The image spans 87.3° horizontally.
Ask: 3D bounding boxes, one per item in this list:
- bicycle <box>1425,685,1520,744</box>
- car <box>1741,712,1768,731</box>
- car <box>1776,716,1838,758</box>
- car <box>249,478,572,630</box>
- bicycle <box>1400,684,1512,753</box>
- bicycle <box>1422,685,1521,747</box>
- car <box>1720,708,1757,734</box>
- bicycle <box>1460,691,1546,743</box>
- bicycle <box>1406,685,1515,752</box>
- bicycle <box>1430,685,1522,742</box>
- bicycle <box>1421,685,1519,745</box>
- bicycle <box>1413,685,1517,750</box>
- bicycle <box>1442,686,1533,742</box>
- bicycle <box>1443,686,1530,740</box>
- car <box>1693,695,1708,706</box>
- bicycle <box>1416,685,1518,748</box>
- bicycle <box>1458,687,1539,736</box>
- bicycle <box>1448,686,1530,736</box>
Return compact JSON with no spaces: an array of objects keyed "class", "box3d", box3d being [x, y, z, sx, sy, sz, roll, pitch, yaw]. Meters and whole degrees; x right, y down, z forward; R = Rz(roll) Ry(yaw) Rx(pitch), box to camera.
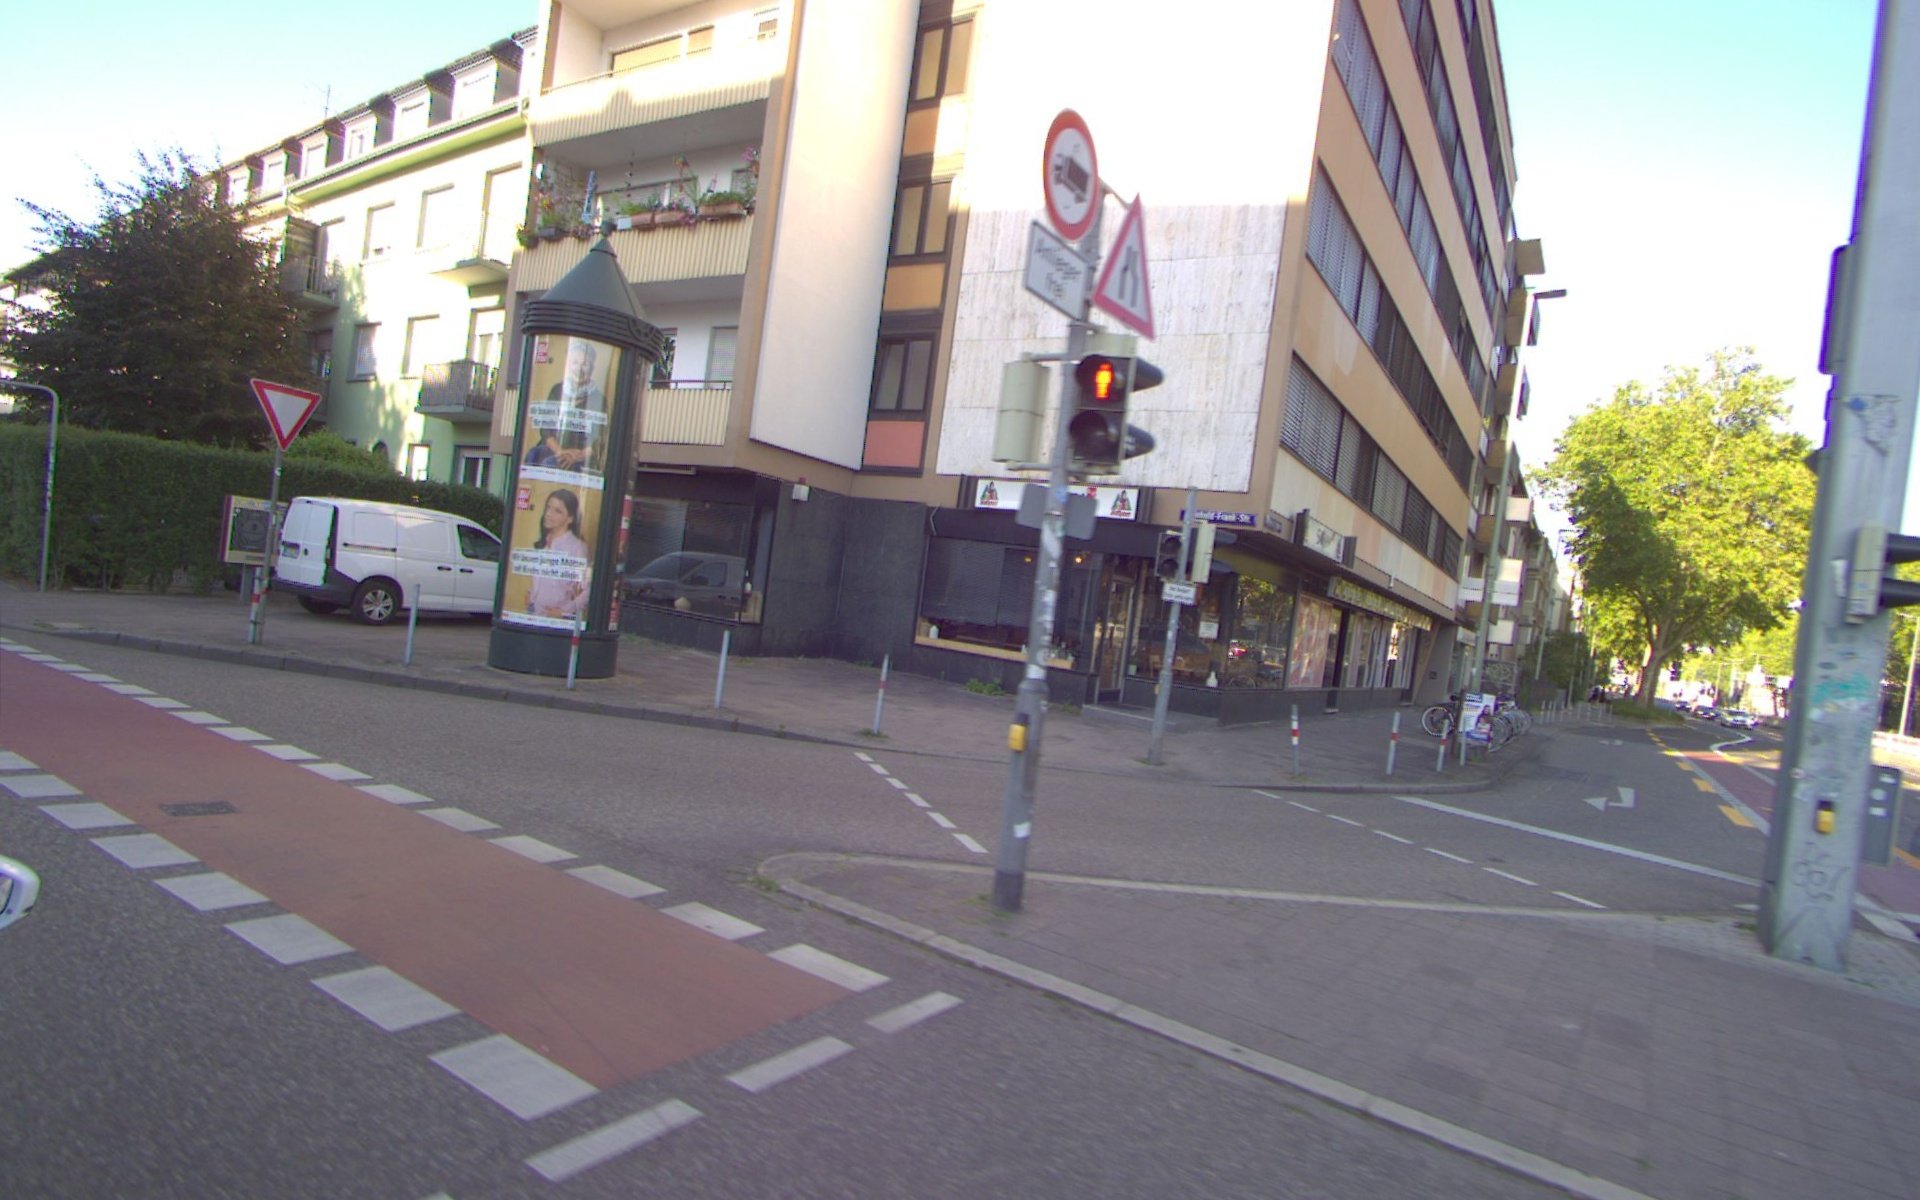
[{"class":"bicycle","box3d":[12.785,2.840,25.115,1.973,1.110,0.527,8,1,30]},{"class":"car","box3d":[88.084,13.417,111.523,1.742,1.727,3.991,8,0,32]},{"class":"car","box3d":[44.311,7.127,52.706,1.742,1.727,3.991,8,0,32]},{"class":"car","box3d":[-8.740,-0.658,16.339,1.831,1.836,4.090,9,0,34]},{"class":"bicycle","box3d":[10.646,2.531,21.645,1.976,1.110,0.526,8,1,35]},{"class":"bicycle","box3d":[12.175,2.752,23.988,1.972,1.110,0.527,8,1,28]},{"class":"car","box3d":[63.493,9.852,82.089,1.742,1.727,3.991,8,0,32]},{"class":"bicycle","box3d":[15.307,3.279,28.411,1.972,1.110,0.527,8,1,28]},{"class":"bicycle","box3d":[11.032,2.587,22.223,1.976,1.110,0.526,8,1,35]},{"class":"bicycle","box3d":[13.292,2.913,25.969,1.972,1.110,0.527,8,1,28]},{"class":"bicycle","box3d":[12.454,2.792,24.594,1.973,1.110,0.527,8,1,30]},{"class":"bicycle","box3d":[11.509,2.656,22.961,1.972,1.110,0.527,8,1,28]},{"class":"bicycle","box3d":[13.841,2.992,26.461,1.972,1.110,0.527,8,1,28]},{"class":"bicycle","box3d":[14.458,3.093,27.674,1.972,1.110,0.527,8,1,28]},{"class":"car","box3d":[138.217,18.763,187.886,1.742,1.727,3.991,8,0,32]},{"class":"bicycle","box3d":[11.815,2.700,23.497,1.972,1.110,0.527,8,1,28]},{"class":"bicycle","box3d":[16.062,3.313,30.058,1.972,1.110,0.527,8,1,28]},{"class":"bicycle","box3d":[15.315,3.205,29.174,1.972,1.110,0.527,8,1,28]}]
